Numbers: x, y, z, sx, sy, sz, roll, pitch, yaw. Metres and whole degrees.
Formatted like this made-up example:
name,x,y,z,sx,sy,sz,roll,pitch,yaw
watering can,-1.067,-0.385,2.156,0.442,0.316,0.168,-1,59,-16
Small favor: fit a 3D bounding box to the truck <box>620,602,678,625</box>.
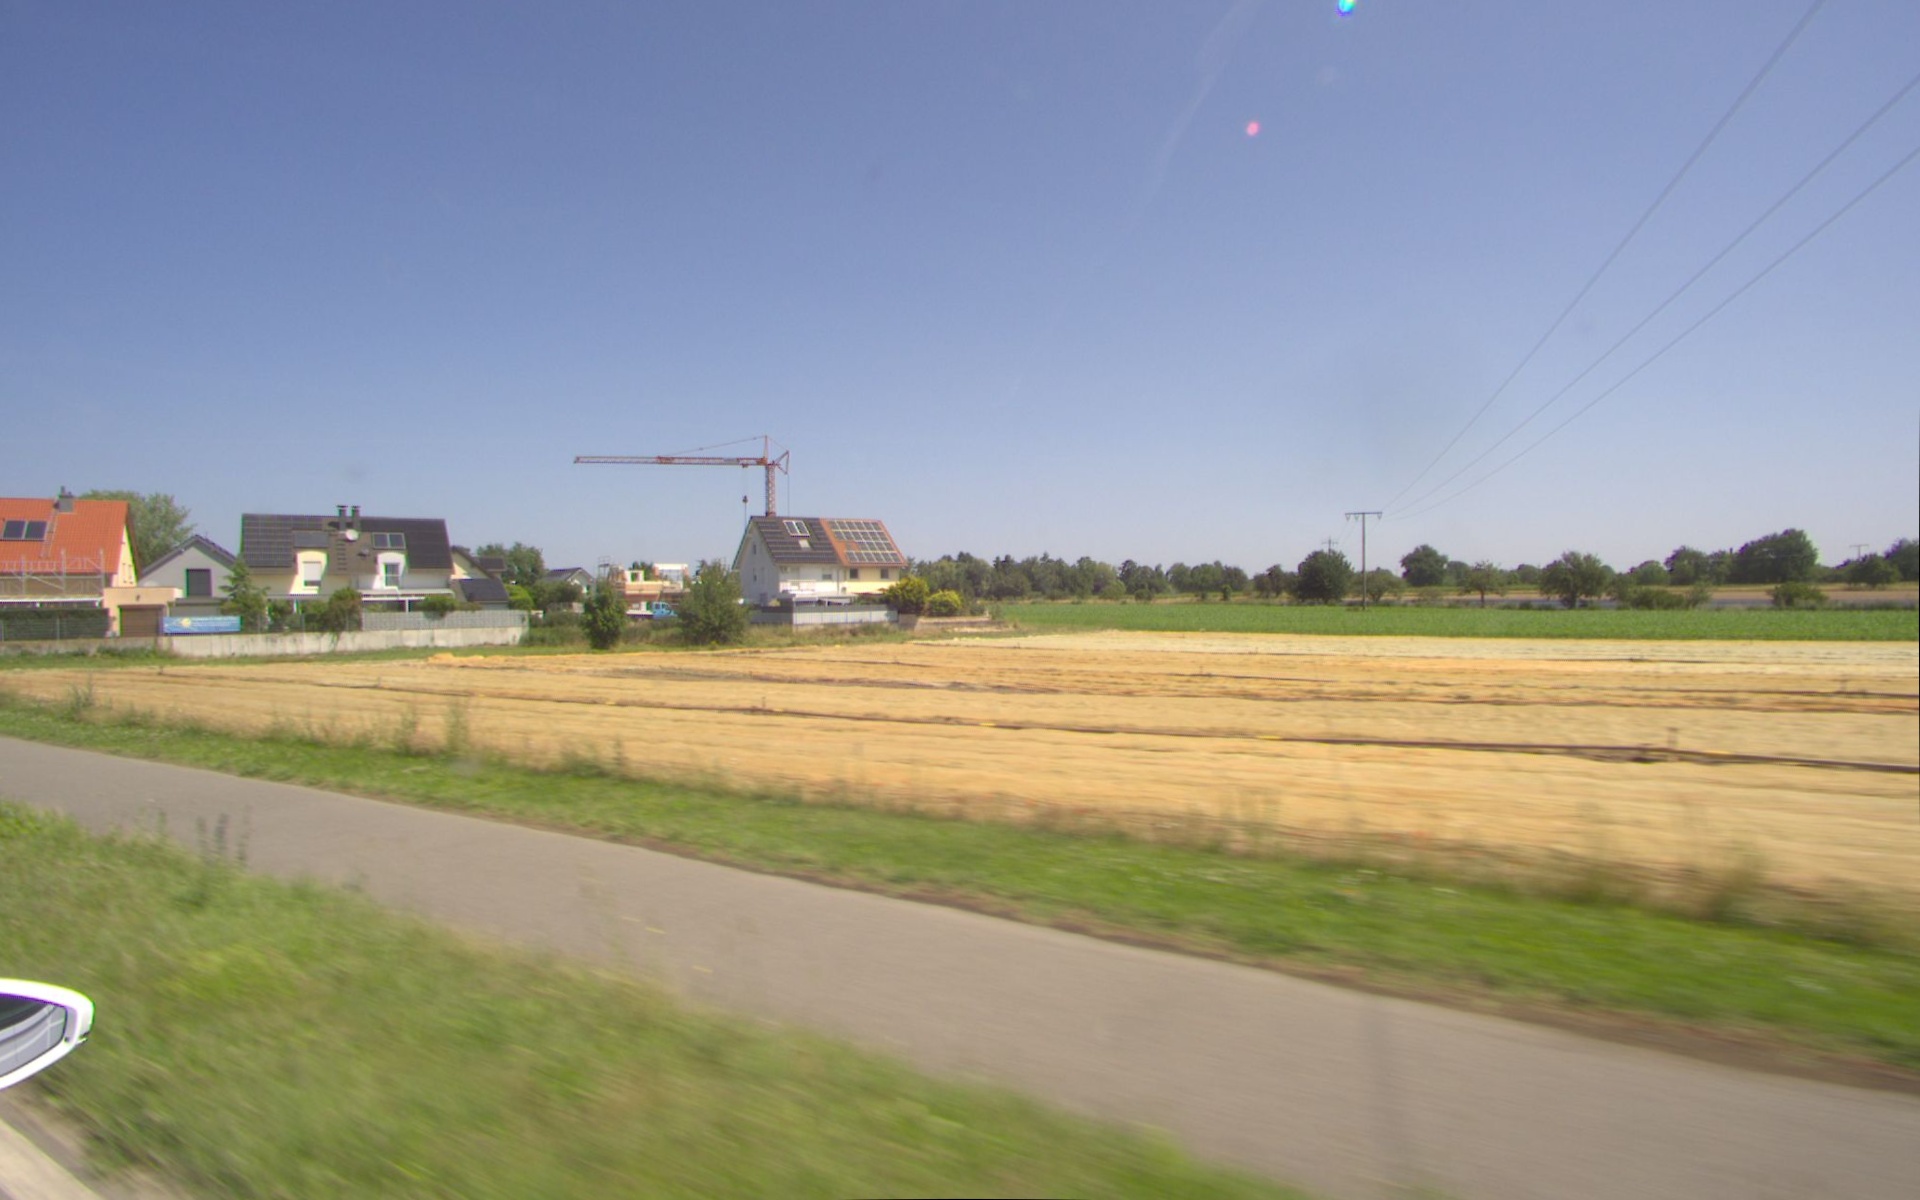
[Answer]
name,x,y,z,sx,sy,sz,roll,pitch,yaw
truck,-33.473,1.410,107.844,5.496,2.260,2.201,-2,1,-33
